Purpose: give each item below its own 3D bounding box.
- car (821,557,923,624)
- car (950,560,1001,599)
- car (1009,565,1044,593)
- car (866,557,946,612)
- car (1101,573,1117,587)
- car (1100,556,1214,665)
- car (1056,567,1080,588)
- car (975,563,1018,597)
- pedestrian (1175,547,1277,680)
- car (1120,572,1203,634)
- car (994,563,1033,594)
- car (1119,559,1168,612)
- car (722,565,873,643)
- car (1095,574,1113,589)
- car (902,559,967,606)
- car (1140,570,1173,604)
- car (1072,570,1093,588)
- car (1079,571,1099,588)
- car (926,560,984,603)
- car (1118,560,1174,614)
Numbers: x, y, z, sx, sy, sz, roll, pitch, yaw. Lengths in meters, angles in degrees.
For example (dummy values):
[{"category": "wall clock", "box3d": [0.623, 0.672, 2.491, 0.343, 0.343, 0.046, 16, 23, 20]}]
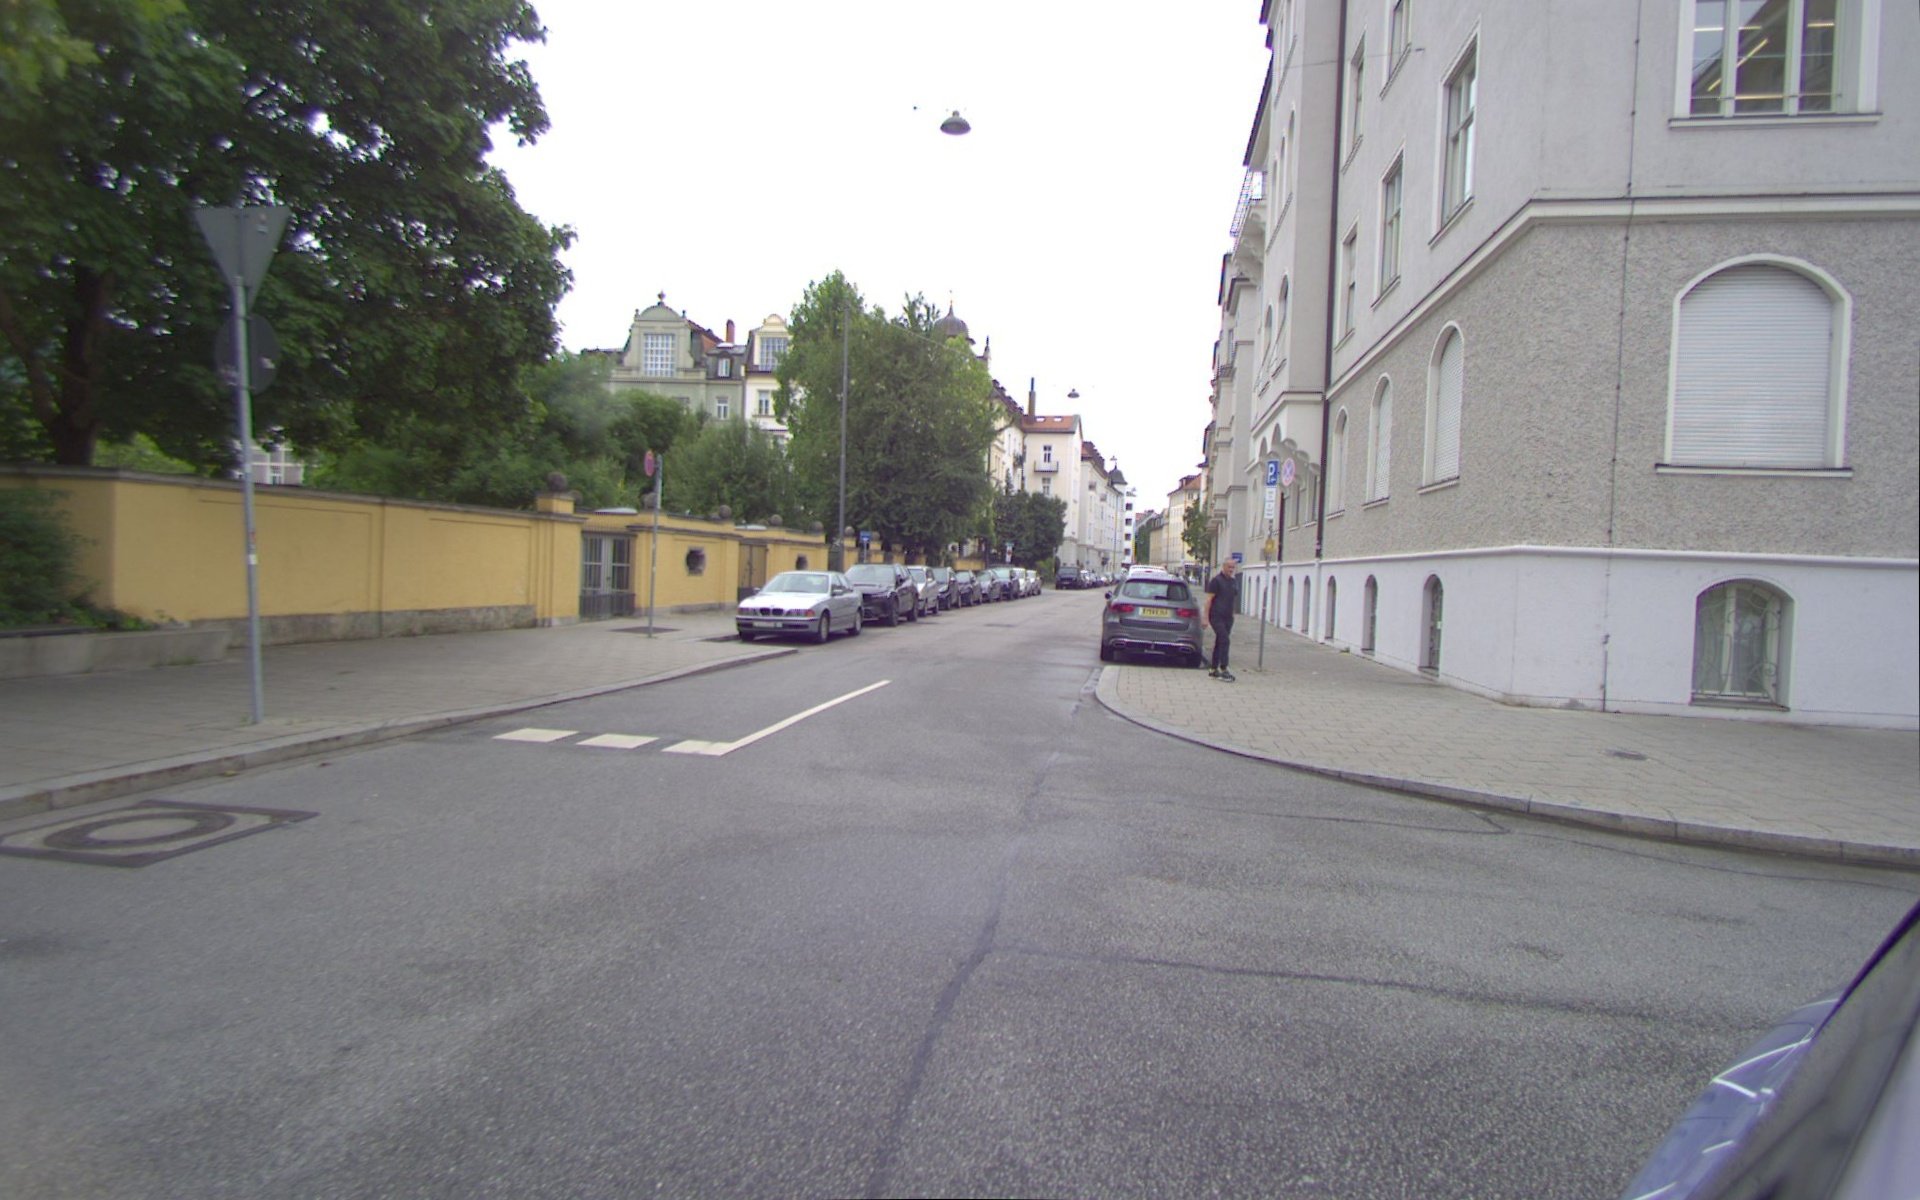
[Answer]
[{"category": "car", "box3d": [-2.255, -0.288, 26.876, 1.767, 1.566, 3.948, 3, 2, 9]}, {"category": "car", "box3d": [0.720, -0.916, 44.804, 1.767, 1.566, 3.297, 3, 2, 9]}, {"category": "car", "box3d": [4.018, -1.272, 60.393, 1.767, 1.566, 3.297, 3, 2, 9]}, {"category": "car", "box3d": [-1.659, -0.529, 32.463, 1.767, 1.566, 3.948, 3, 2, 9]}, {"category": "car", "box3d": [17.397, -2.346, 117.883, 1.767, 1.566, 3.602, 3, 2, 9]}, {"category": "car", "box3d": [3.717, 0.111, 19.752, 1.861, 1.817, 4.242, 2, 2, 8]}, {"category": "car", "box3d": [8.817, -1.845, 82.329, 1.767, 1.566, 3.602, 3, 2, 9]}, {"category": "car", "box3d": [1.847, -1.009, 50.327, 1.767, 1.566, 3.297, 3, 2, 9]}, {"category": "pedestrian", "box3d": [3.811, 0.177, 14.547, 0.980, 1.823, 0.931, 1, 2, -31]}, {"category": "car", "box3d": [5.332, 0.010, 27.220, 1.861, 1.421, 4.242, 2, 2, 8]}, {"category": "car", "box3d": [2.996, -1.207, 55.747, 1.767, 1.566, 3.297, 3, 2, 9]}, {"category": "car", "box3d": [7.789, -0.665, 43.272, 1.788, 2.060, 4.027, 2, 2, 8]}, {"category": "car", "box3d": [-3.259, 0.013, 21.183, 1.772, 1.385, 4.454, 3, 2, 9]}, {"category": "car", "box3d": [15.449, -2.000, 108.369, 1.767, 1.566, 3.602, 3, 2, 9]}, {"category": "car", "box3d": [-0.881, -0.655, 36.881, 1.767, 1.566, 3.297, 3, 2, 9]}, {"category": "car", "box3d": [12.757, -0.870, 65.917, 1.788, 2.060, 4.027, 2, 2, 8]}, {"category": "car", "box3d": [11.205, -1.941, 92.394, 1.767, 1.566, 3.602, 3, 2, 9]}, {"category": "car", "box3d": [12.304, -1.955, 96.536, 1.767, 1.566, 3.602, 3, 2, 9]}, {"category": "car", "box3d": [-0.159, -0.749, 40.135, 1.767, 1.566, 3.297, 3, 2, 9]}, {"category": "car", "box3d": [6.725, -0.523, 36.920, 1.767, 1.805, 3.832, 2, 2, 8]}]
